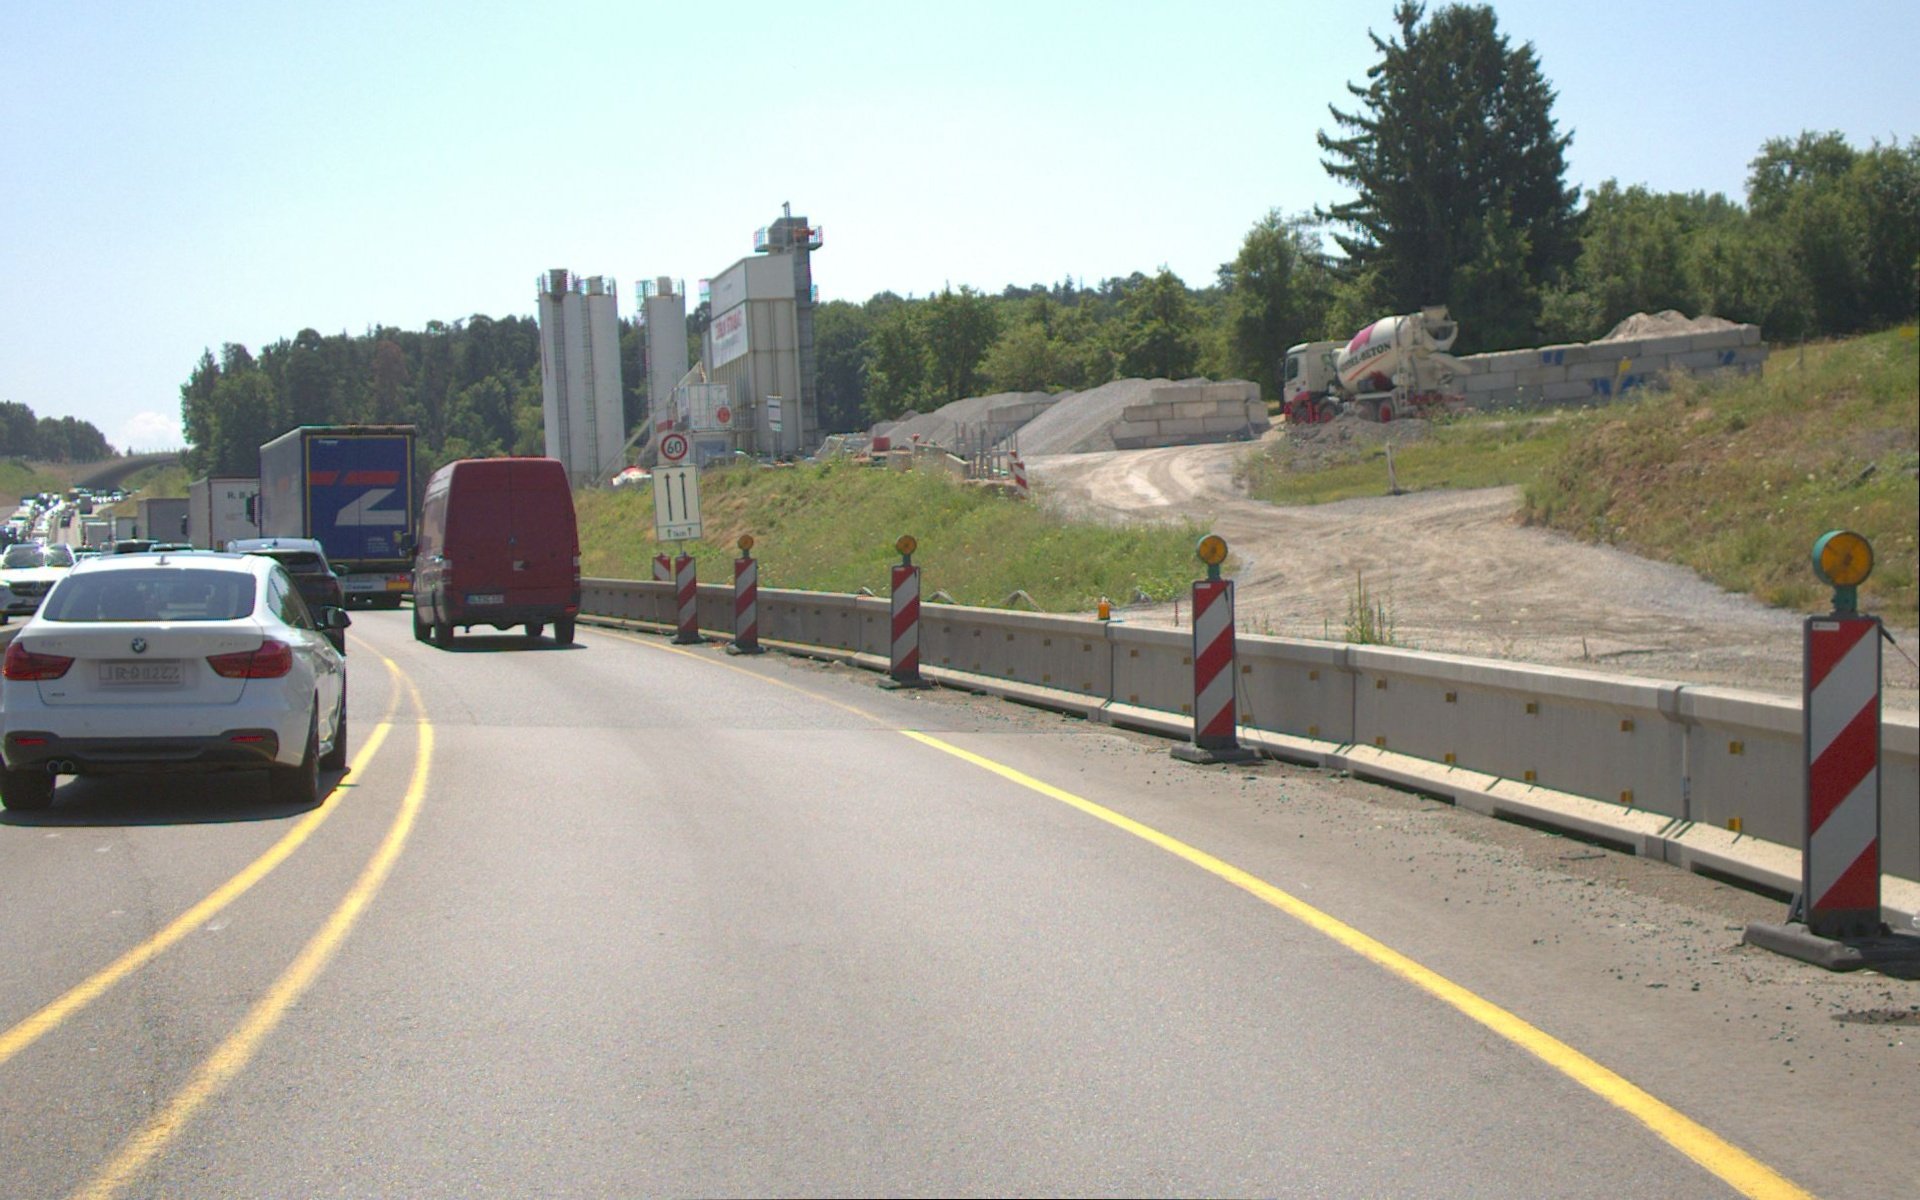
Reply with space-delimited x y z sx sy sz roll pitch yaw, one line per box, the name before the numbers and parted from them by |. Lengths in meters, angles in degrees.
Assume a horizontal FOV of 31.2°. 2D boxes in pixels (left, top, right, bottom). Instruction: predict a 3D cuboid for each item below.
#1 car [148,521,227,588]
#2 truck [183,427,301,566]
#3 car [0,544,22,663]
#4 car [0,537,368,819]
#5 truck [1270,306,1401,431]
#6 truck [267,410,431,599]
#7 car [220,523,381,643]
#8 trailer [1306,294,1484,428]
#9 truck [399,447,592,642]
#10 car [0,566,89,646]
car | -19.220 -1.143 85.669 1.801 1.574 4.001 -2 1 -12
truck | -25.717 -3.670 123.567 3.682 4.675 9.755 -2 1 -10
car | -12.813 0.085 42.691 1.668 1.470 3.971 -2 1 -7
car | -4.840 0.385 21.682 1.795 1.529 5.074 0 1 -6
truck | 13.030 -8.032 119.520 2.744 4.081 4.101 -3 1 -24
truck | -14.479 -2.210 81.021 3.015 4.138 8.275 -2 1 -15
car | -9.100 -0.273 47.691 1.795 1.529 3.932 -2 1 -6
trailer | 14.608 -8.010 115.919 2.755 4.100 6.747 -3 2 -24
truck | -6.925 -0.826 50.666 2.111 2.624 6.486 -2 1 -13
car | -18.668 0.091 69.783 1.795 1.470 4.779 -2 2 -14
